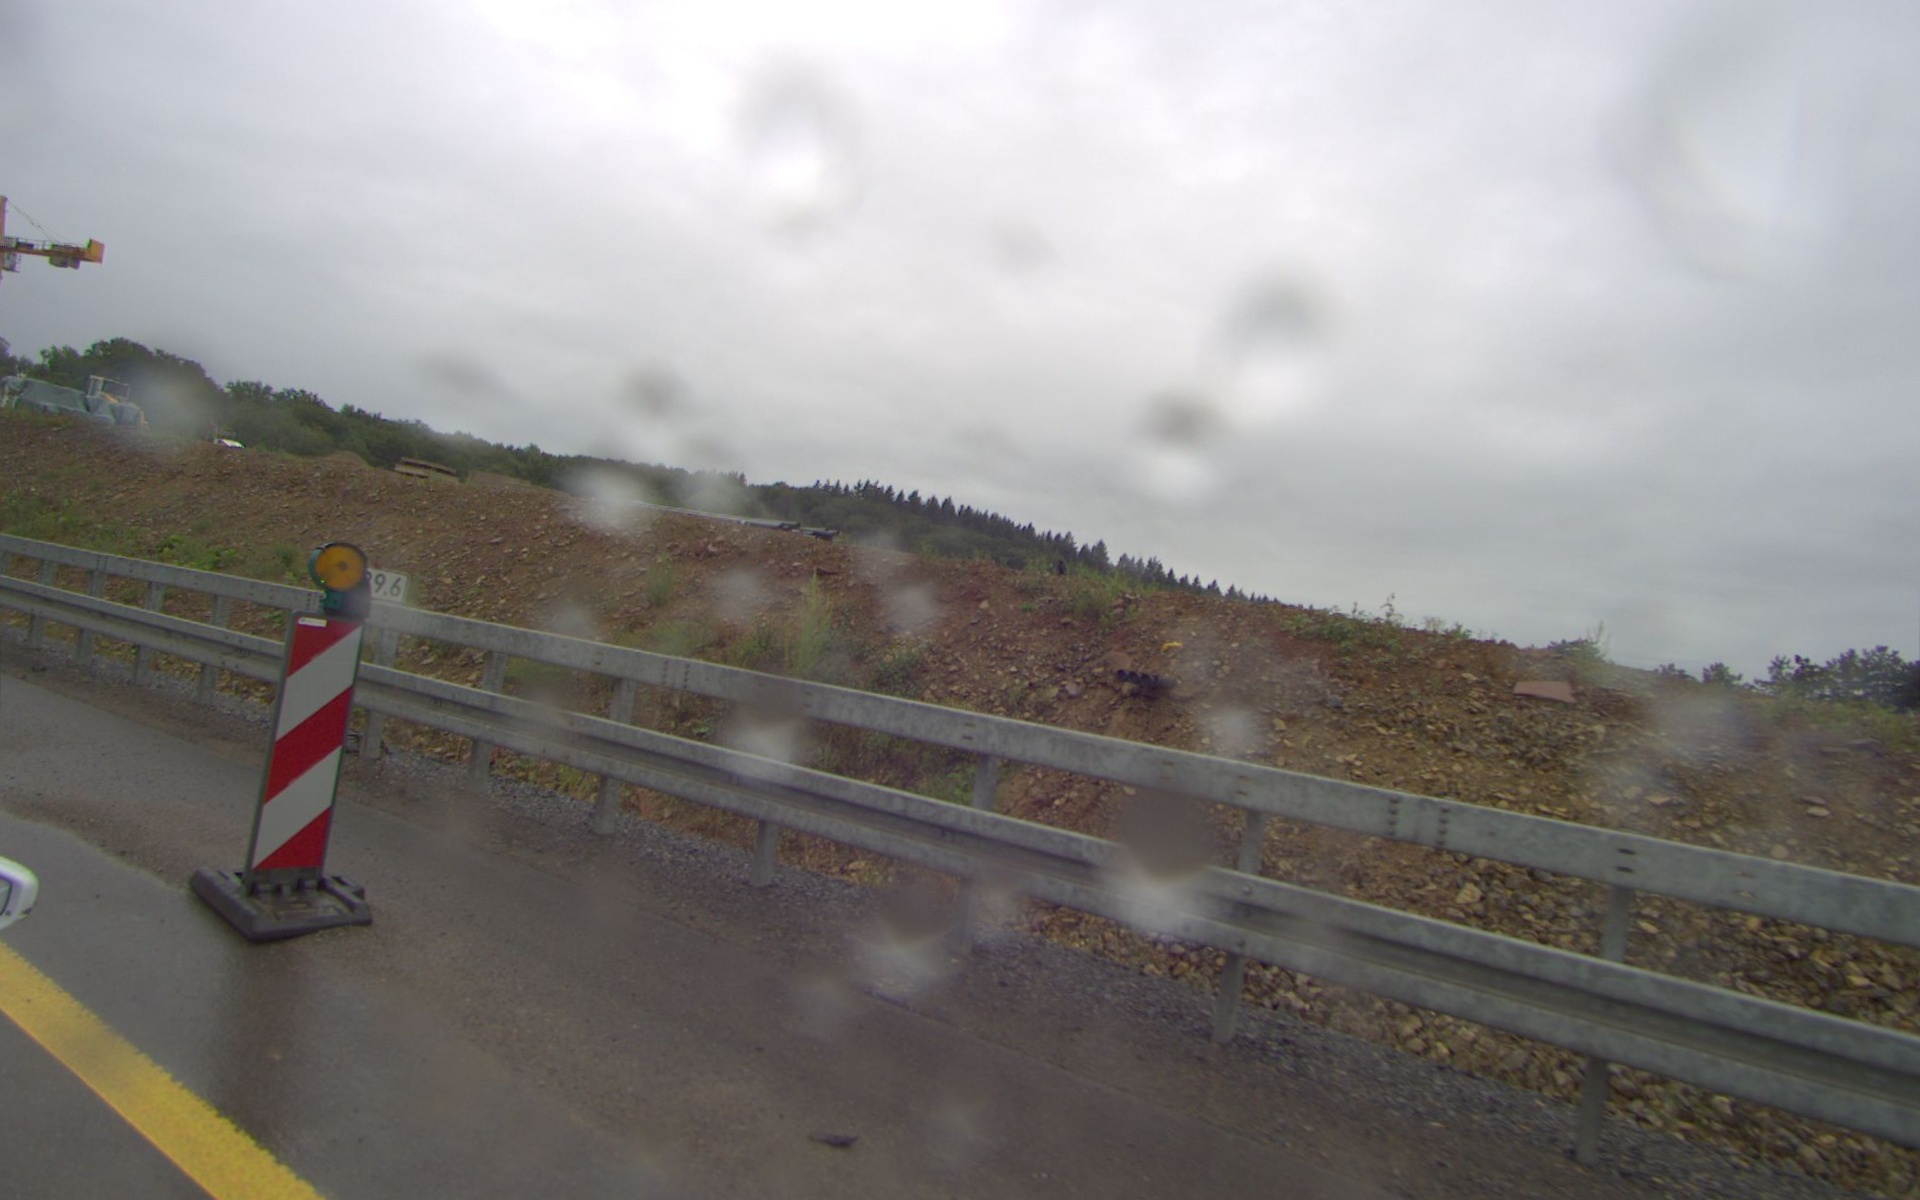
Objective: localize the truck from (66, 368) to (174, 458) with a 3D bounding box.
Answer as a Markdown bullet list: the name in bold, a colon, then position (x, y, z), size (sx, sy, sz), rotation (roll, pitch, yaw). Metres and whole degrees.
- **truck**: position (-46.477, -10.340, 55.637), size (5.878, 4.268, 2.378), rotation (7, -1, 30)

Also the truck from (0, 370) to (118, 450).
- **truck**: position (-45.205, -9.244, 49.247), size (8.813, 2.908, 3.401), rotation (7, -1, 33)

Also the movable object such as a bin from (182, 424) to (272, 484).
- **movable object such as a bin**: position (-53.364, -10.651, 73.205), size (6.446, 3.642, 2.347), rotation (7, -1, 28)
